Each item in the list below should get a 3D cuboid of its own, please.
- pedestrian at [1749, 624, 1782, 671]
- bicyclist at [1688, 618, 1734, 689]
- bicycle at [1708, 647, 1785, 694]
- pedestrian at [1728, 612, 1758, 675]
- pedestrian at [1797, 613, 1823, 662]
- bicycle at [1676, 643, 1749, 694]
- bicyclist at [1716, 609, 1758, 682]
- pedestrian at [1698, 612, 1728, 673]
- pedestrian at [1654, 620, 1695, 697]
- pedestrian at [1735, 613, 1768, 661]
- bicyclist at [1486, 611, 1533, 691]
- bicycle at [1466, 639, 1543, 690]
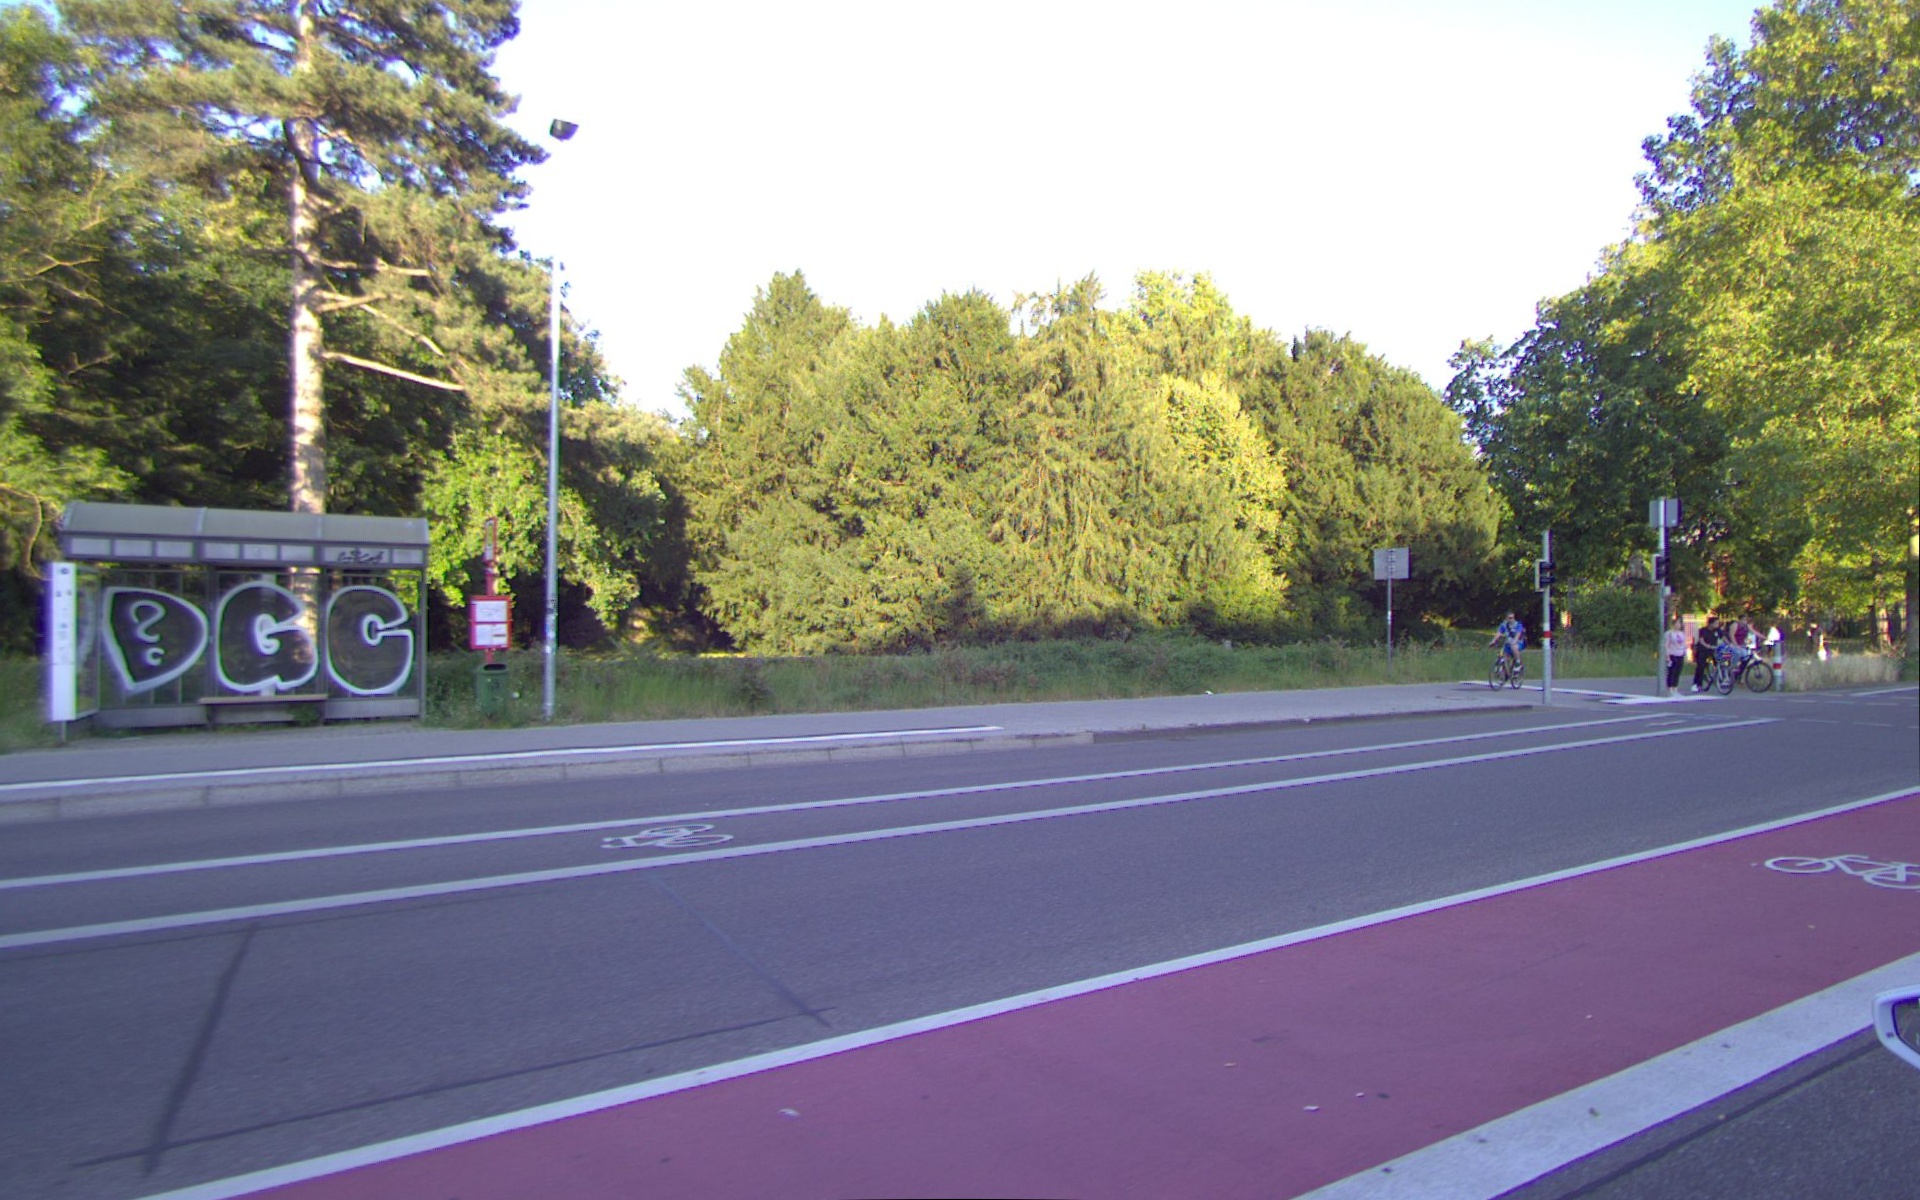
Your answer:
[{"bbox_3d":[35.809,2.105,44.652,1.063,2.040,0.757,1,0,-28],"label":"pedestrian"},{"bbox_3d":[17.881,1.270,23.927,0.618,1.671,0.640,0,-1,2],"label":"bicyclist"},{"bbox_3d":[19.249,1.709,24.629,0.568,1.043,1.772,0,-1,2],"label":"bicycle"},{"bbox_3d":[25.916,1.434,33.252,0.584,2.040,0.642,1,0,21],"label":"pedestrian"},{"bbox_3d":[36.144,1.597,42.724,0.692,2.040,0.637,1,-1,-27],"label":"pedestrian"},{"bbox_3d":[17.879,1.614,23.903,0.620,1.126,1.569,0,-1,2],"label":"bicycle"},{"bbox_3d":[19.259,1.121,24.908,0.564,1.804,0.640,0,-1,2],"label":"bicyclist"},{"bbox_3d":[25.492,1.423,34.014,0.638,2.040,0.606,1,0,23],"label":"pedestrian"},{"bbox_3d":[16.139,1.306,22.692,0.492,1.718,0.604,1,-1,-28],"label":"pedestrian"},{"bbox_3d":[34.739,1.620,44.094,0.982,2.040,0.799,1,0,-29],"label":"pedestrian"},{"bbox_3d":[13.056,1.198,23.868,0.705,1.848,0.730,1,-1,-35],"label":"bicyclist"},{"bbox_3d":[12.853,1.492,23.702,2.101,1.115,0.765,1,-1,-35],"label":"bicycle"}]
